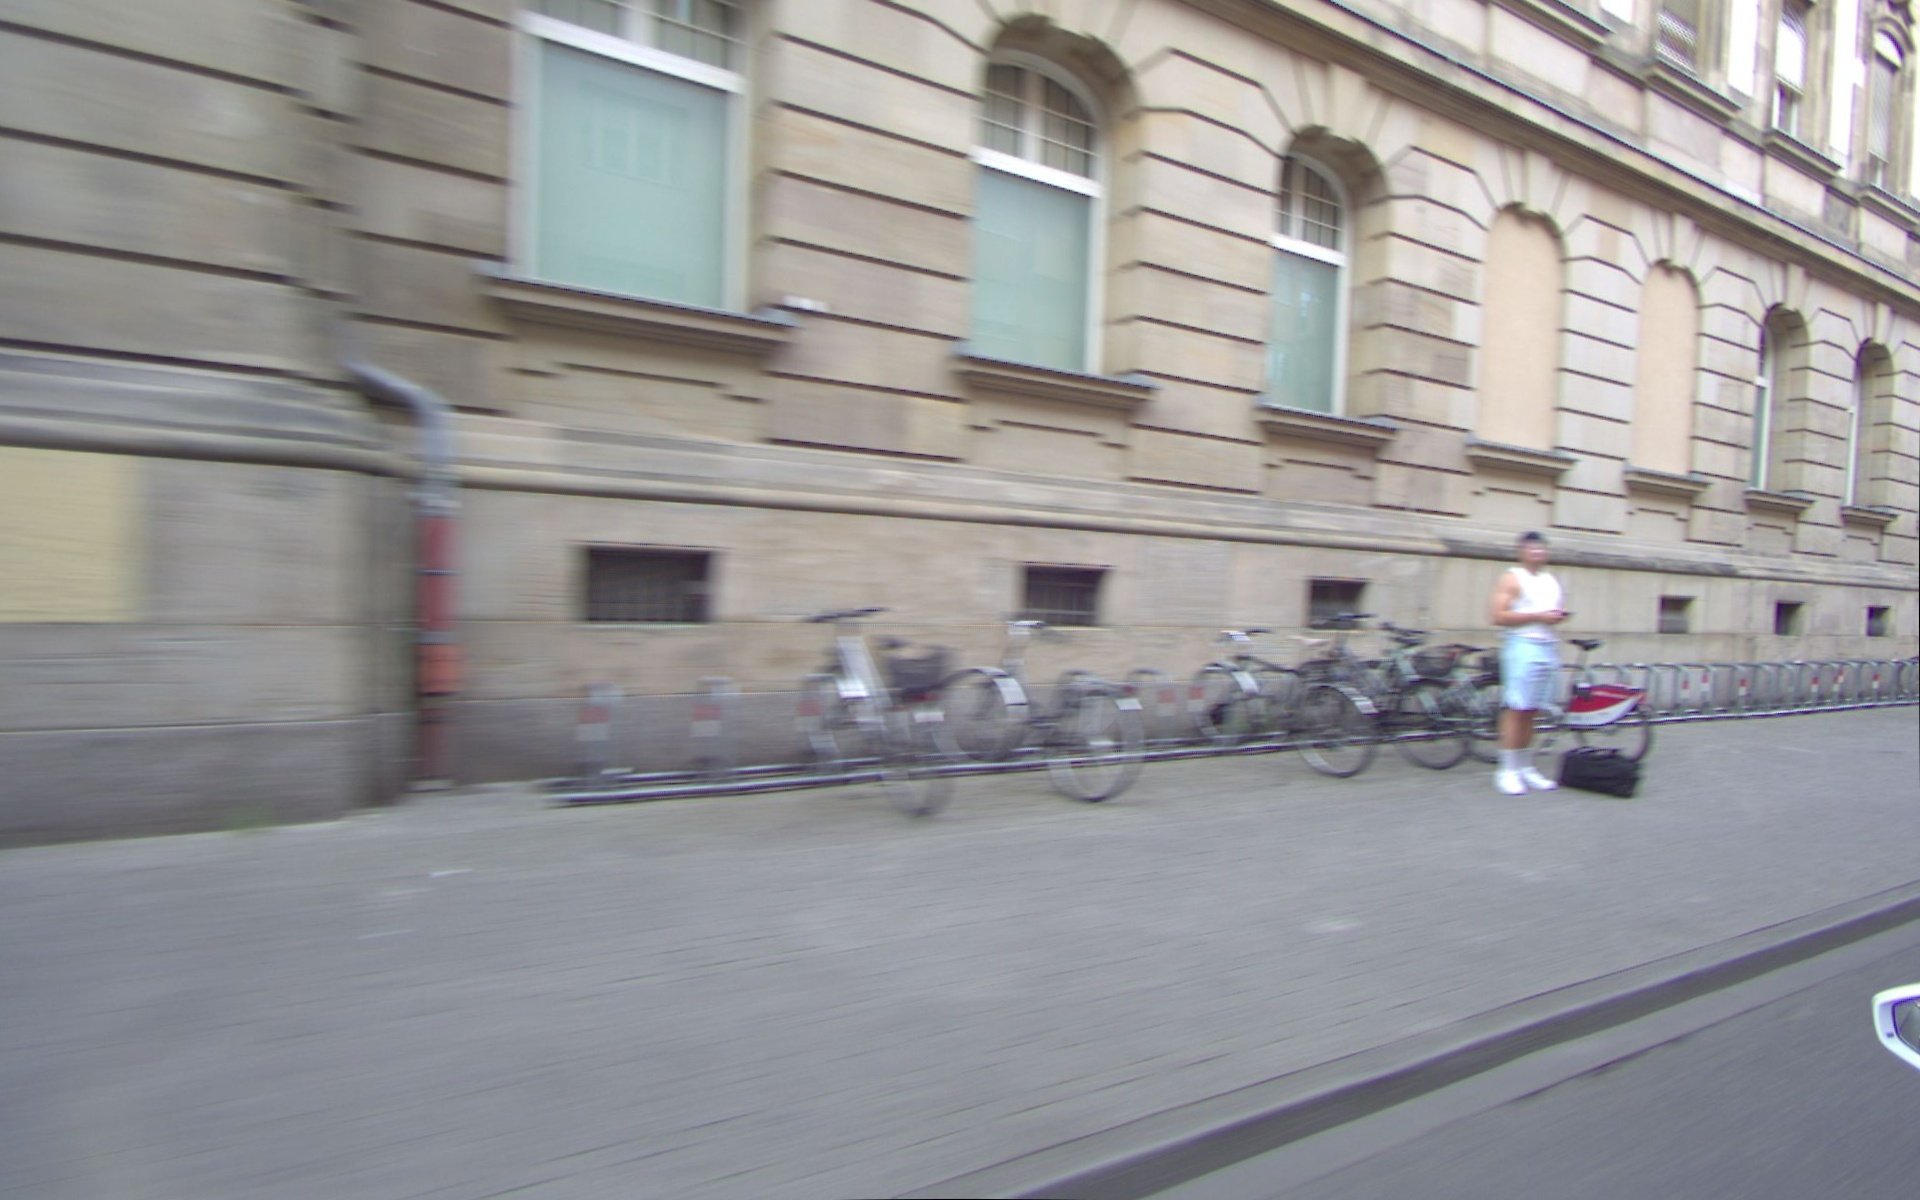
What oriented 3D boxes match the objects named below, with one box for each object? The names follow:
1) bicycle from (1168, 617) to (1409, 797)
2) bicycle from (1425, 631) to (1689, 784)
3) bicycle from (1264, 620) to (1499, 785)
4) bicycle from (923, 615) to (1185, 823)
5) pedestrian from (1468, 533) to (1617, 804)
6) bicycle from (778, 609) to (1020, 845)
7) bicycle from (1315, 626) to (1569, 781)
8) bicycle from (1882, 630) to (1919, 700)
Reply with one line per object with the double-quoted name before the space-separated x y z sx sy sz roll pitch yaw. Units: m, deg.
"bicycle" 2.485 0.759 7.820 0.495 1.122 1.782 2 2 -35
"bicycle" 5.272 0.895 9.018 0.613 1.076 1.926 2 2 -31
"bicycle" 3.481 0.800 8.468 0.495 1.122 1.782 2 2 -35
"bicycle" 0.553 0.711 6.785 0.613 1.076 1.924 2 2 -35
"pedestrian" 4.286 0.471 7.399 0.747 1.876 0.584 1 3 -35
"bicycle" -0.451 0.660 6.055 0.612 1.076 1.927 2 2 -30
"bicycle" 4.177 0.843 8.871 0.613 1.076 1.924 2 2 -35
"bicycle" 15.982 1.126 15.908 0.615 1.076 1.918 1 4 -44
